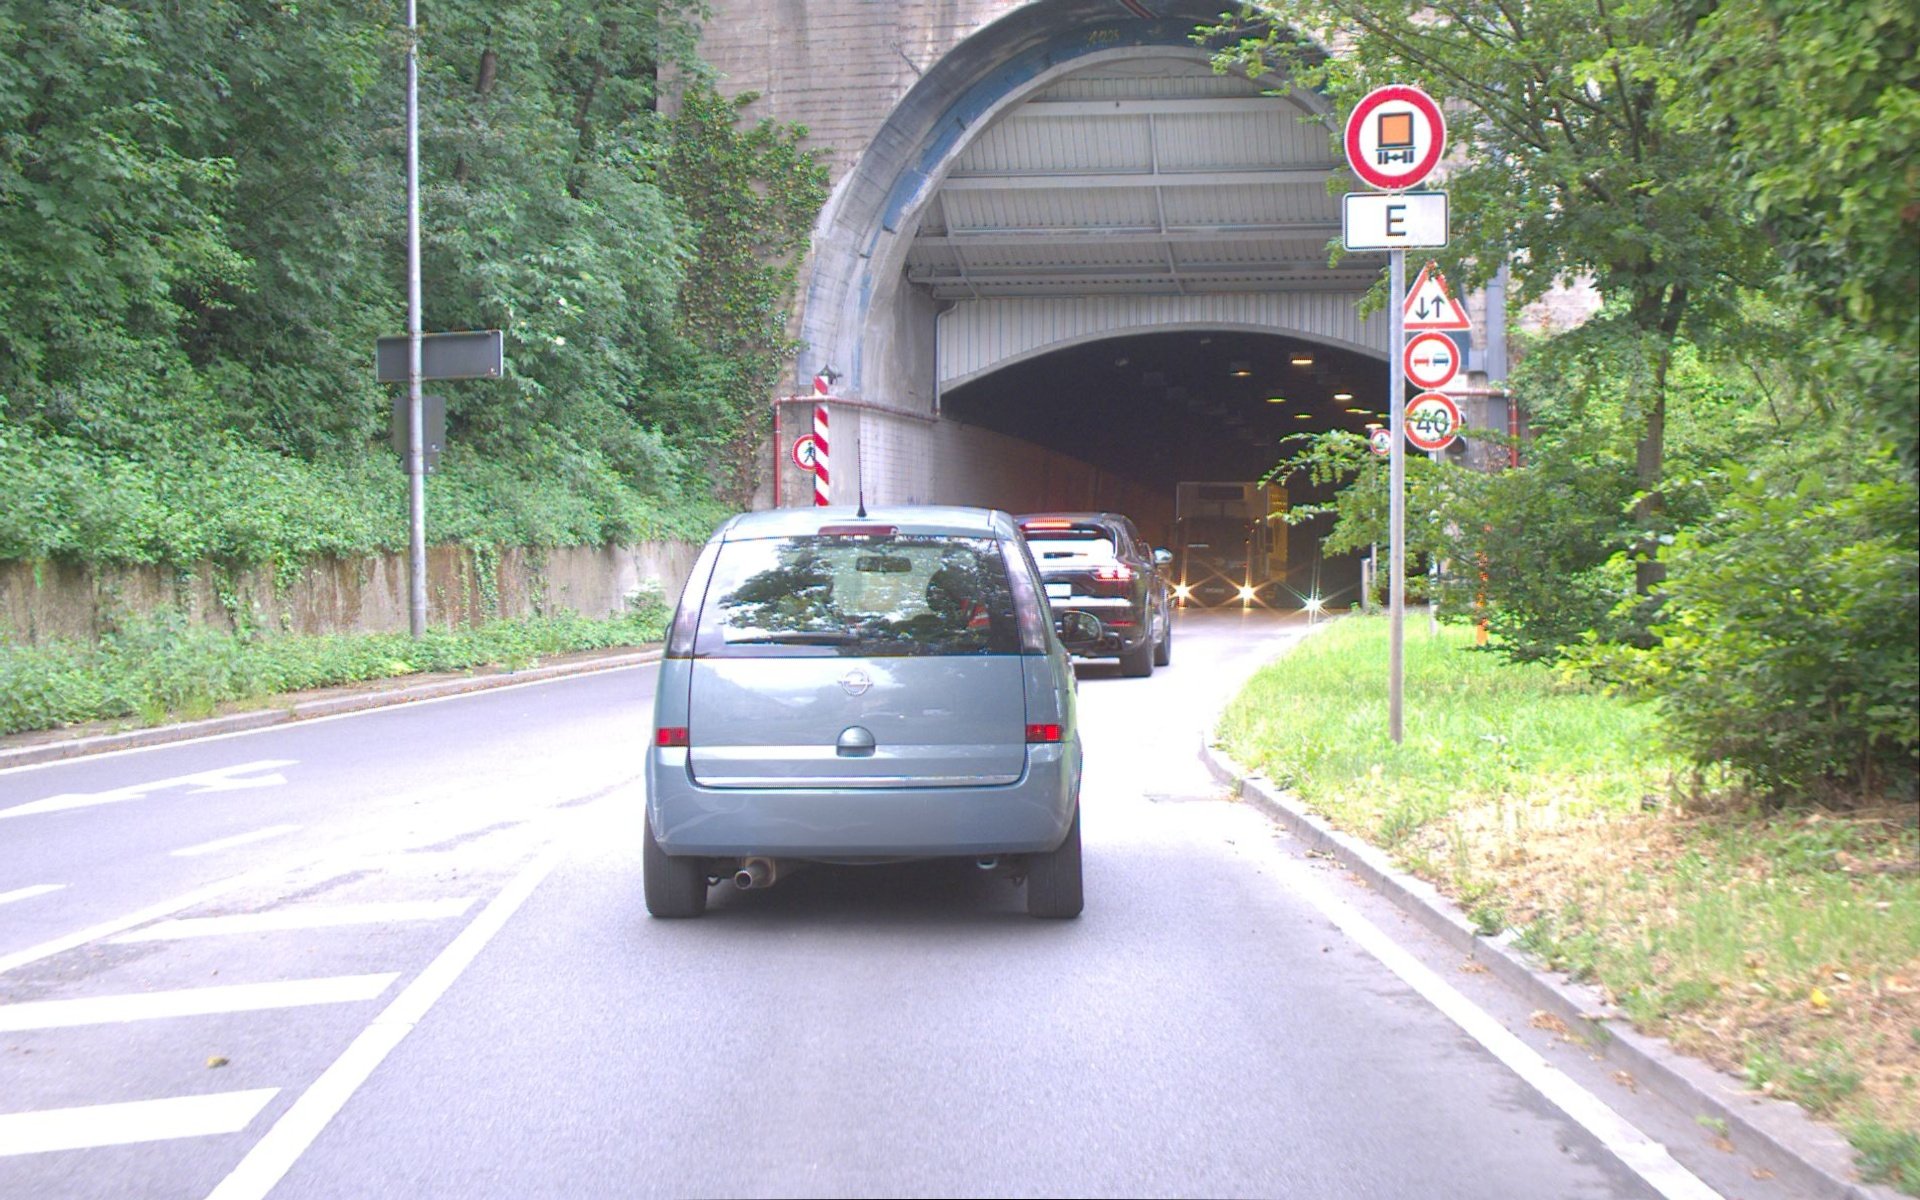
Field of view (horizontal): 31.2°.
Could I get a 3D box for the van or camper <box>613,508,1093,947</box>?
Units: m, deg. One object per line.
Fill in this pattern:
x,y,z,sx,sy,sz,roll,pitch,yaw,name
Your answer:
-0.426,0.415,14.277,1.735,1.572,3.646,0,2,-1,van or camper

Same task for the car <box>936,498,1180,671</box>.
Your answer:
1.078,-0.206,35.577,1.994,1.647,3.999,-1,1,9,car

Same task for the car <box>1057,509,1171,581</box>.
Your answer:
3.205,-1.155,70.885,1.869,1.366,4.455,-1,2,9,car

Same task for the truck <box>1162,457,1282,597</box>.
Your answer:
7.199,-1.978,93.704,2.676,3.654,7.515,0,1,9,truck
